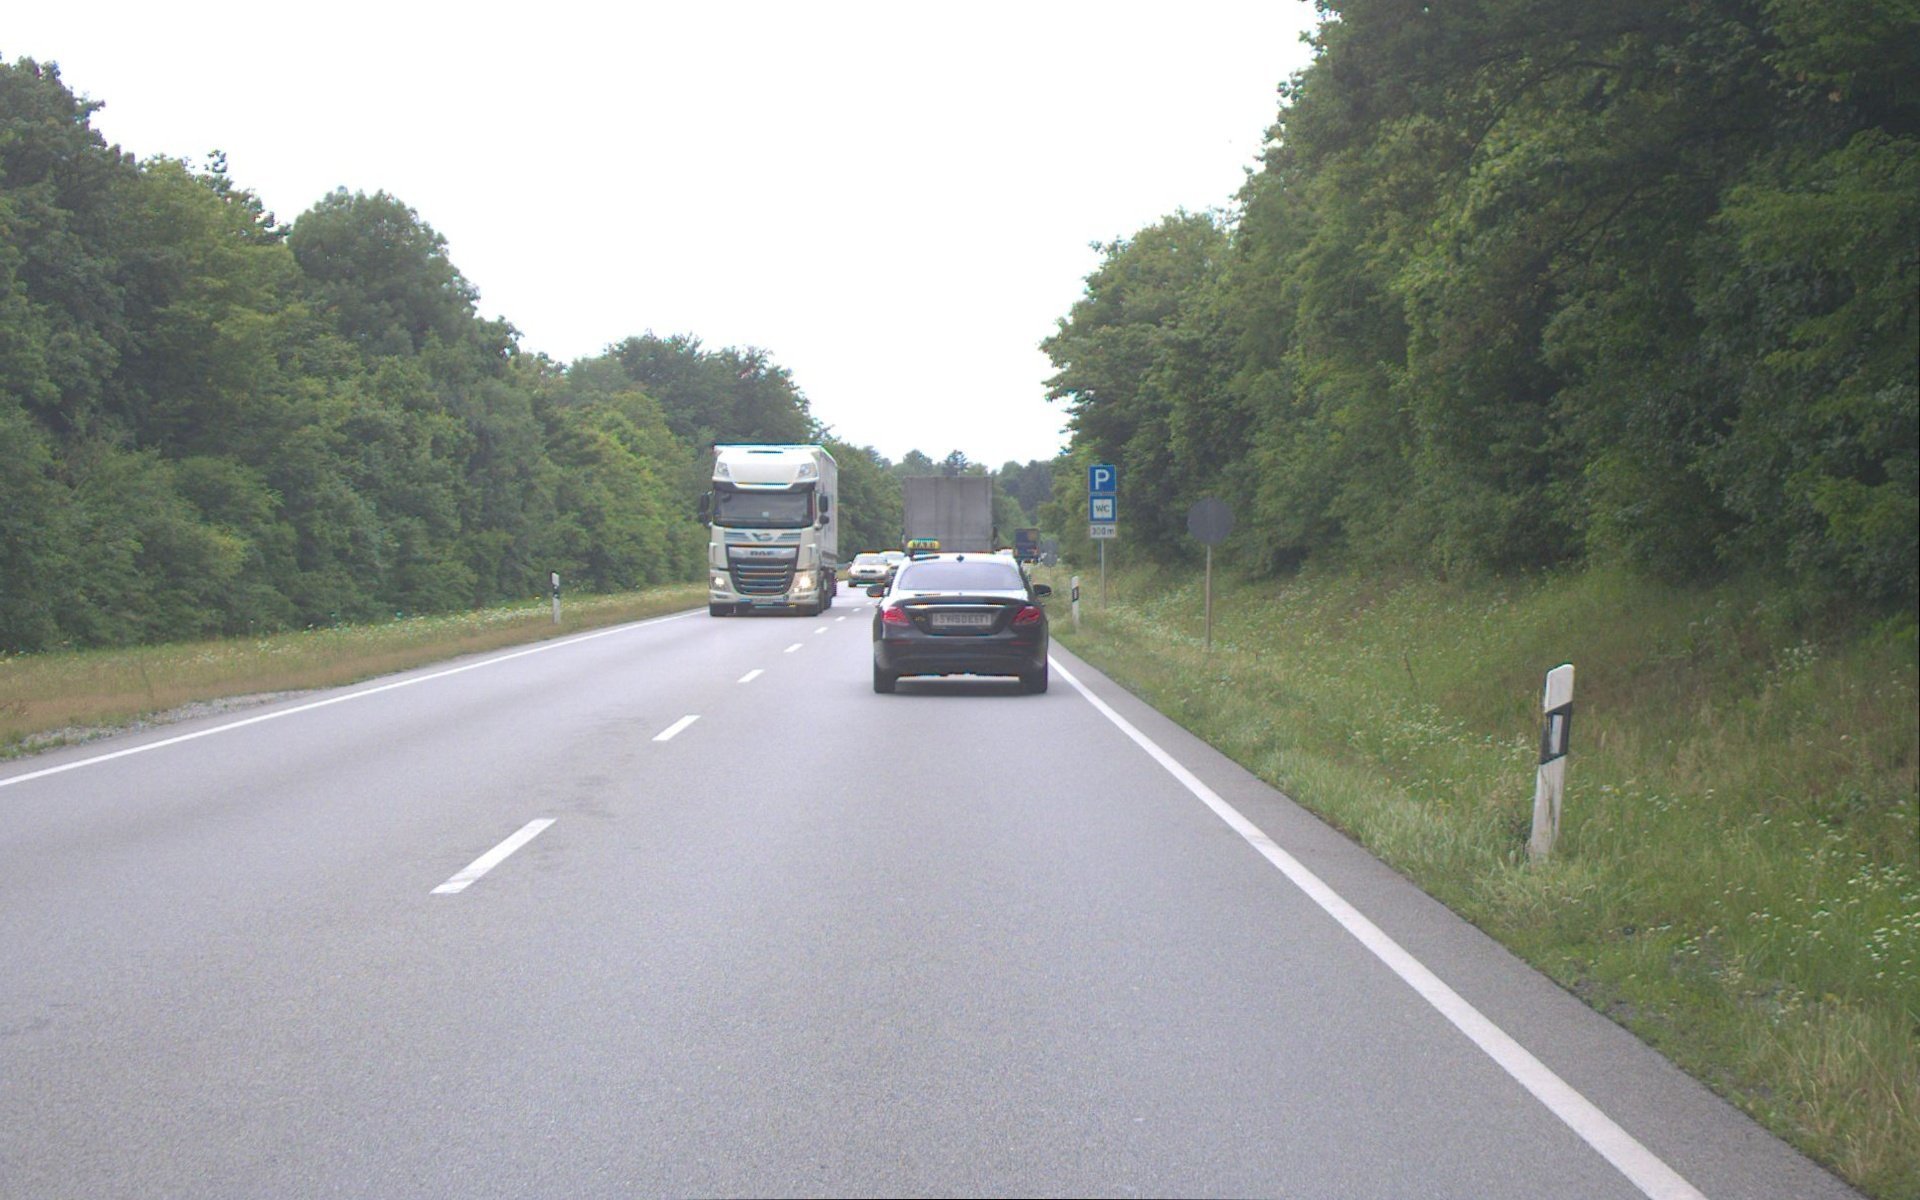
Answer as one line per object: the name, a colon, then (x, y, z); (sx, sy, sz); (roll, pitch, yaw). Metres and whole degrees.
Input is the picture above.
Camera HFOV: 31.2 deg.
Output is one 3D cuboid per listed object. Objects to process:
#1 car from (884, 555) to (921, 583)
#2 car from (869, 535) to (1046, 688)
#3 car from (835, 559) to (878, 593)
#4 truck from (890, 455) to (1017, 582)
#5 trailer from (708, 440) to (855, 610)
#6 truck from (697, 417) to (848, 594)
car: (-3.223, -1.749, 193.435); (1.964, 1.568, 5.452); (1, 1, 0)
car: (-0.073, 0.096, 37.074); (1.791, 1.547, 4.000); (1, 1, -1)
car: (-4.442, -1.026, 147.752); (1.725, 1.429, 4.503); (1, 1, 0)
truck: (-0.095, -2.385, 103.768); (3.281, 3.599, 11.399); (1, 1, 2)
trailer: (-4.528, -1.868, 89.916); (3.203, 4.053, 14.273); (1, 1, -1)
truck: (-4.497, -2.236, 84.266); (3.189, 4.048, 9.576); (1, 1, 0)
